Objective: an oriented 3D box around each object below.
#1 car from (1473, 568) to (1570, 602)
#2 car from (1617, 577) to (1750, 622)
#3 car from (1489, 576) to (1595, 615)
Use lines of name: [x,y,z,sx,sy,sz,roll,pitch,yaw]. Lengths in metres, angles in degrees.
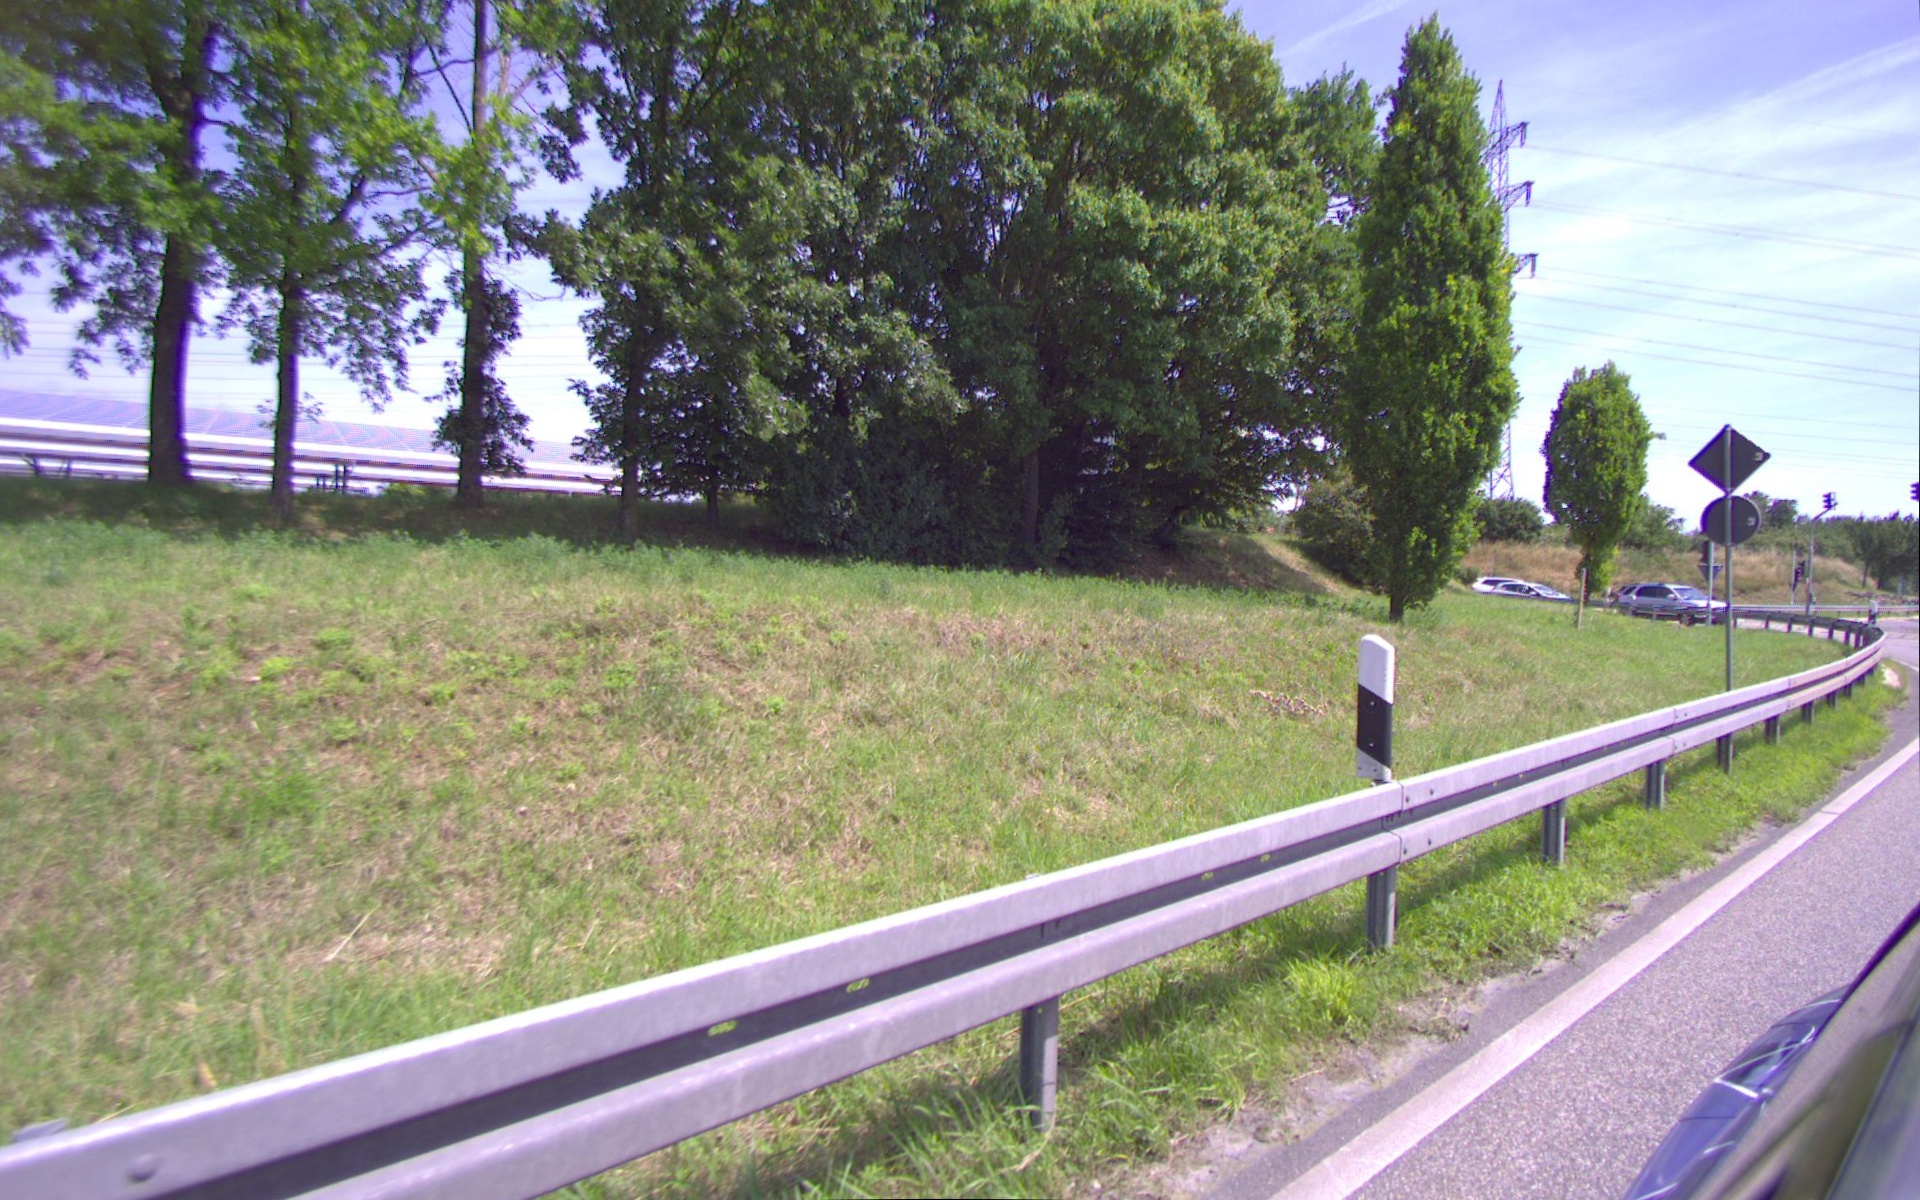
car: [29.224,-0.810,52.742,4.338,1.612,1.761,2,2,31]
car: [29.639,-0.052,41.644,1.798,1.675,4.382,1,2,-11]
car: [27.595,-0.252,48.095,1.746,1.619,4.006,0,3,-29]
